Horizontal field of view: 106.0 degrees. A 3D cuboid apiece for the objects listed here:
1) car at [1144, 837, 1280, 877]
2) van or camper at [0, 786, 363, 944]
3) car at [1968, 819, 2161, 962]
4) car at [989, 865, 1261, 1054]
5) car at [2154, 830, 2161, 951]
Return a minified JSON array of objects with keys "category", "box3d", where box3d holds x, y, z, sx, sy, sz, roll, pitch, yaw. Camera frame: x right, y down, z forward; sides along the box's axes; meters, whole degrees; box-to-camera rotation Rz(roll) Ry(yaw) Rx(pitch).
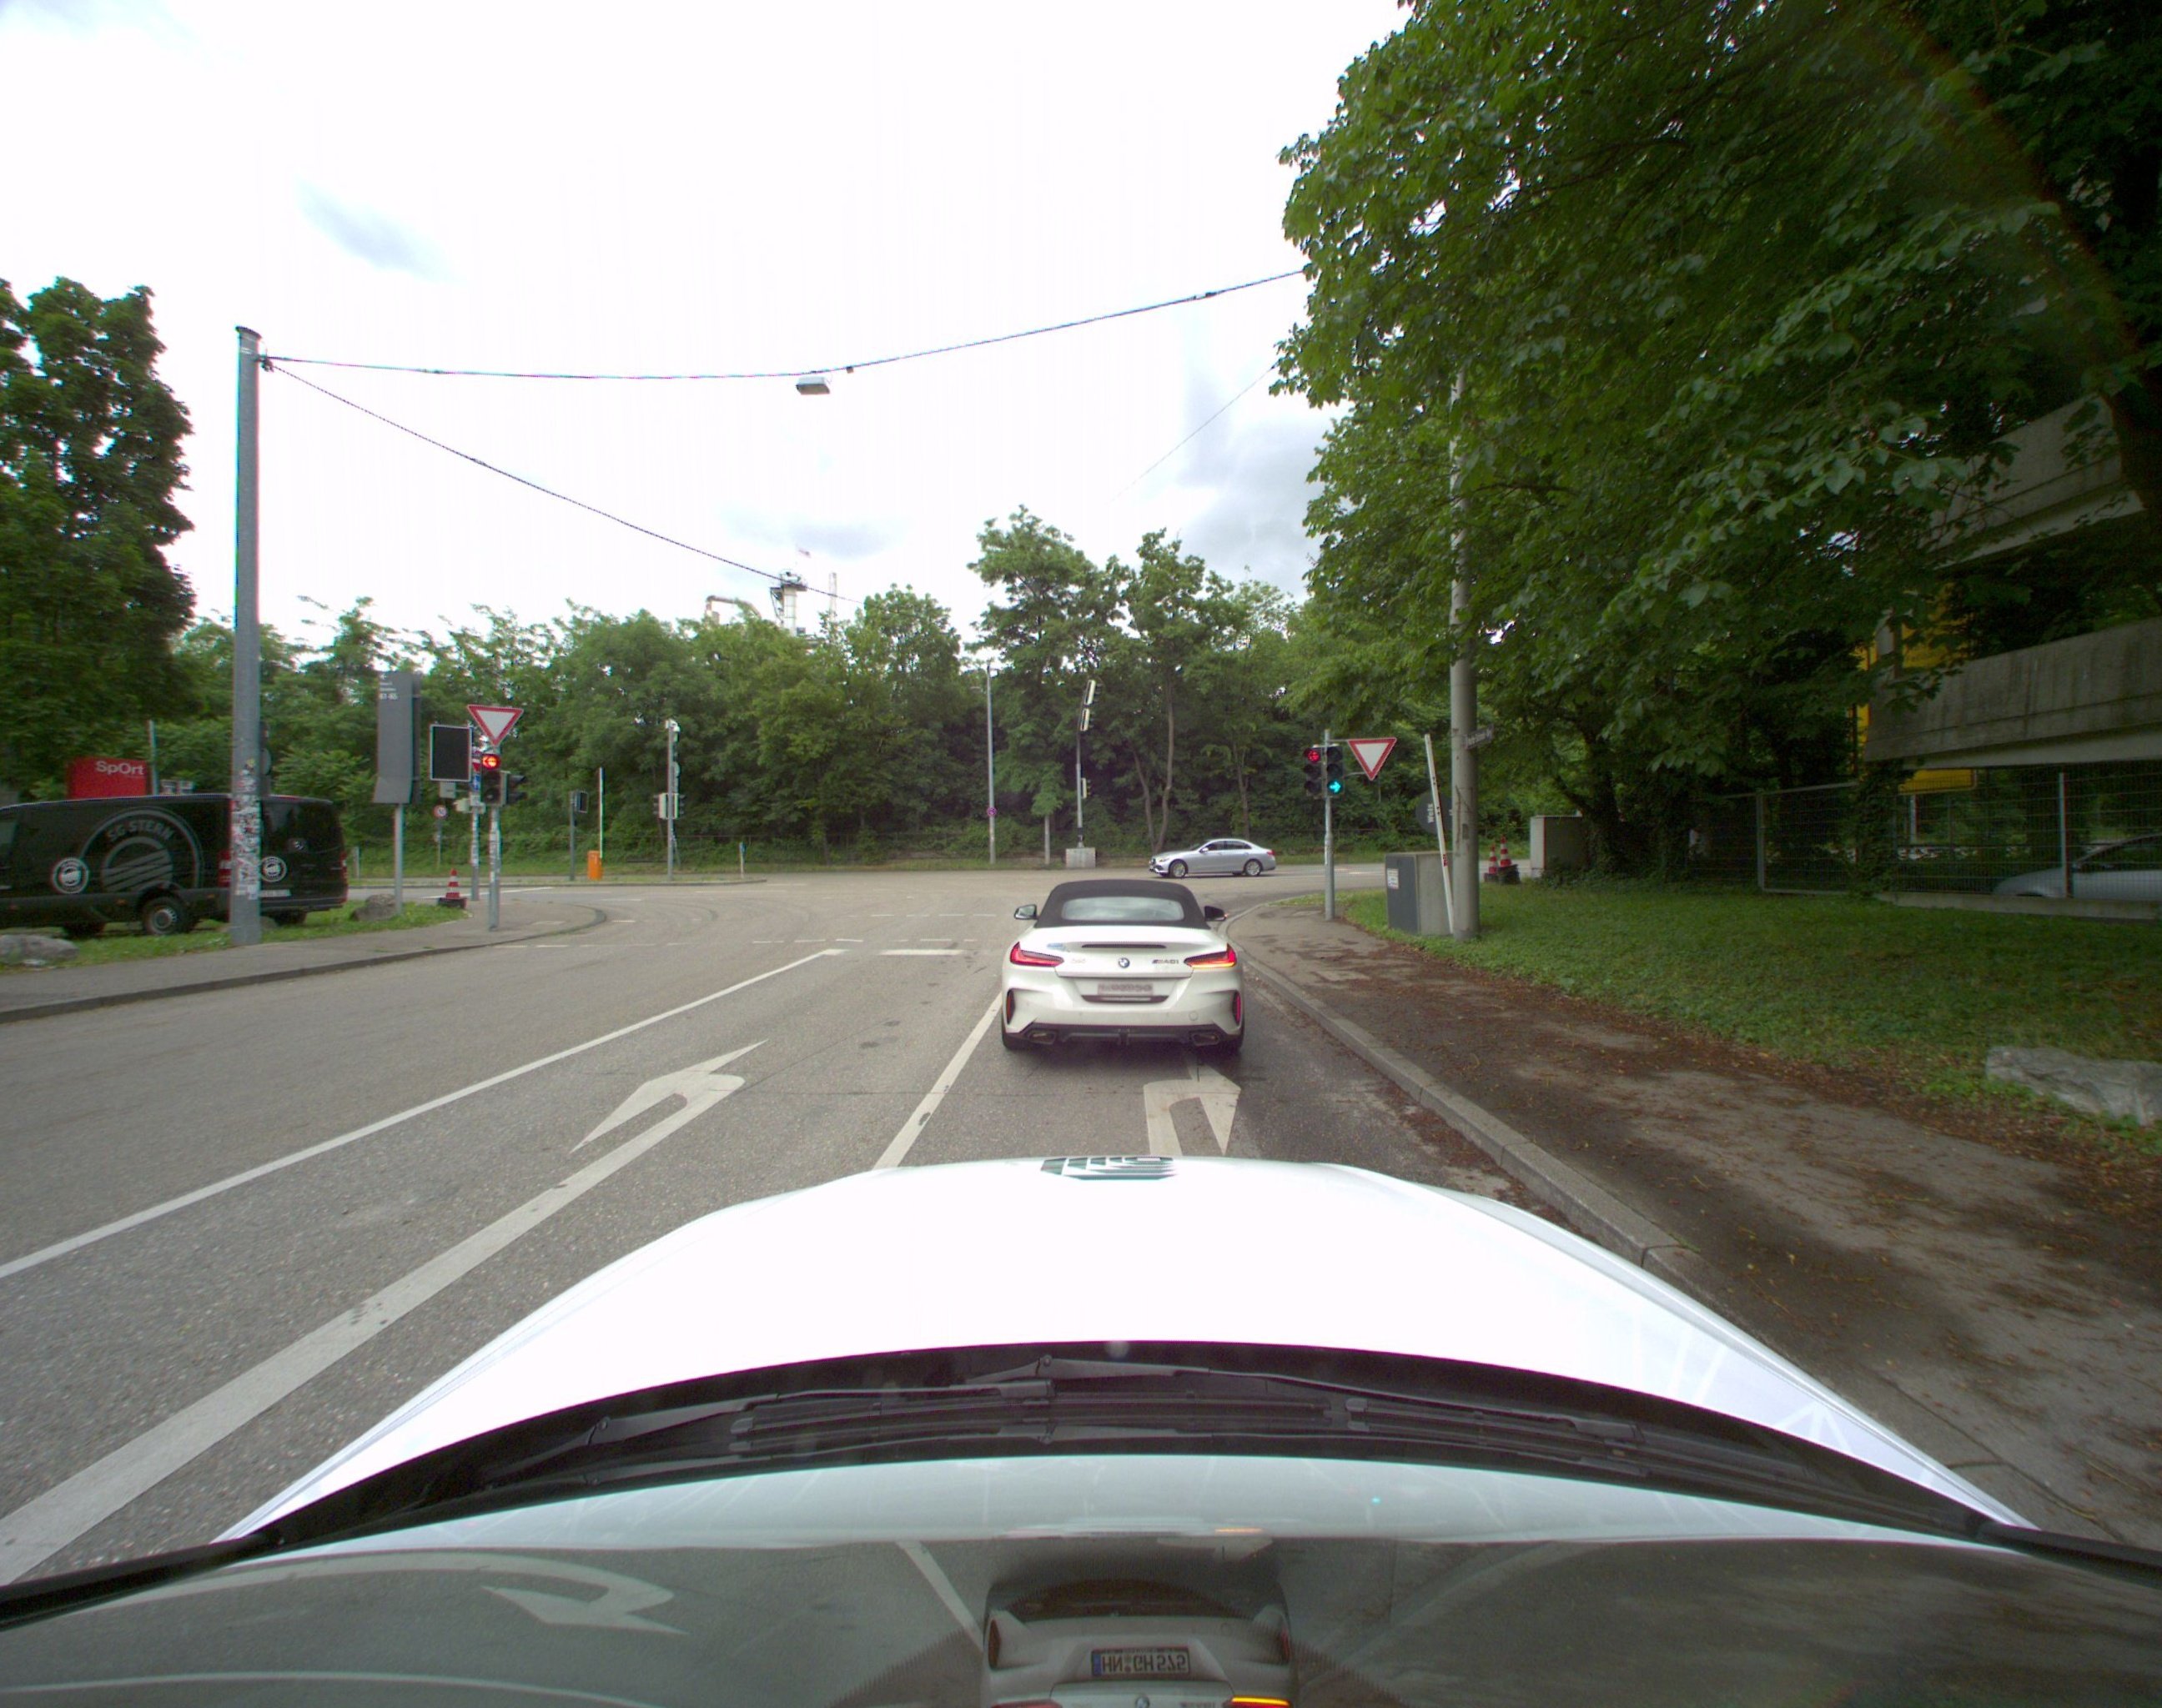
[{"category":"car","box3d":[4.867,0.076,30.507,4.749,1.333,1.828,-1,2,-9]},{"category":"van or camper","box3d":[-15.882,0.244,13.905,5.513,2.314,2.063,-3,-2,2]},{"category":"car","box3d":[13.619,0.445,9.986,1.475,1.708,3.720,0,-2,2]},{"category":"car","box3d":[0.300,0.770,7.469,1.822,1.257,3.998,0,-2,0]},{"category":"car","box3d":[16.012,0.466,9.677,1.574,1.708,3.770,0,-2,2]}]
